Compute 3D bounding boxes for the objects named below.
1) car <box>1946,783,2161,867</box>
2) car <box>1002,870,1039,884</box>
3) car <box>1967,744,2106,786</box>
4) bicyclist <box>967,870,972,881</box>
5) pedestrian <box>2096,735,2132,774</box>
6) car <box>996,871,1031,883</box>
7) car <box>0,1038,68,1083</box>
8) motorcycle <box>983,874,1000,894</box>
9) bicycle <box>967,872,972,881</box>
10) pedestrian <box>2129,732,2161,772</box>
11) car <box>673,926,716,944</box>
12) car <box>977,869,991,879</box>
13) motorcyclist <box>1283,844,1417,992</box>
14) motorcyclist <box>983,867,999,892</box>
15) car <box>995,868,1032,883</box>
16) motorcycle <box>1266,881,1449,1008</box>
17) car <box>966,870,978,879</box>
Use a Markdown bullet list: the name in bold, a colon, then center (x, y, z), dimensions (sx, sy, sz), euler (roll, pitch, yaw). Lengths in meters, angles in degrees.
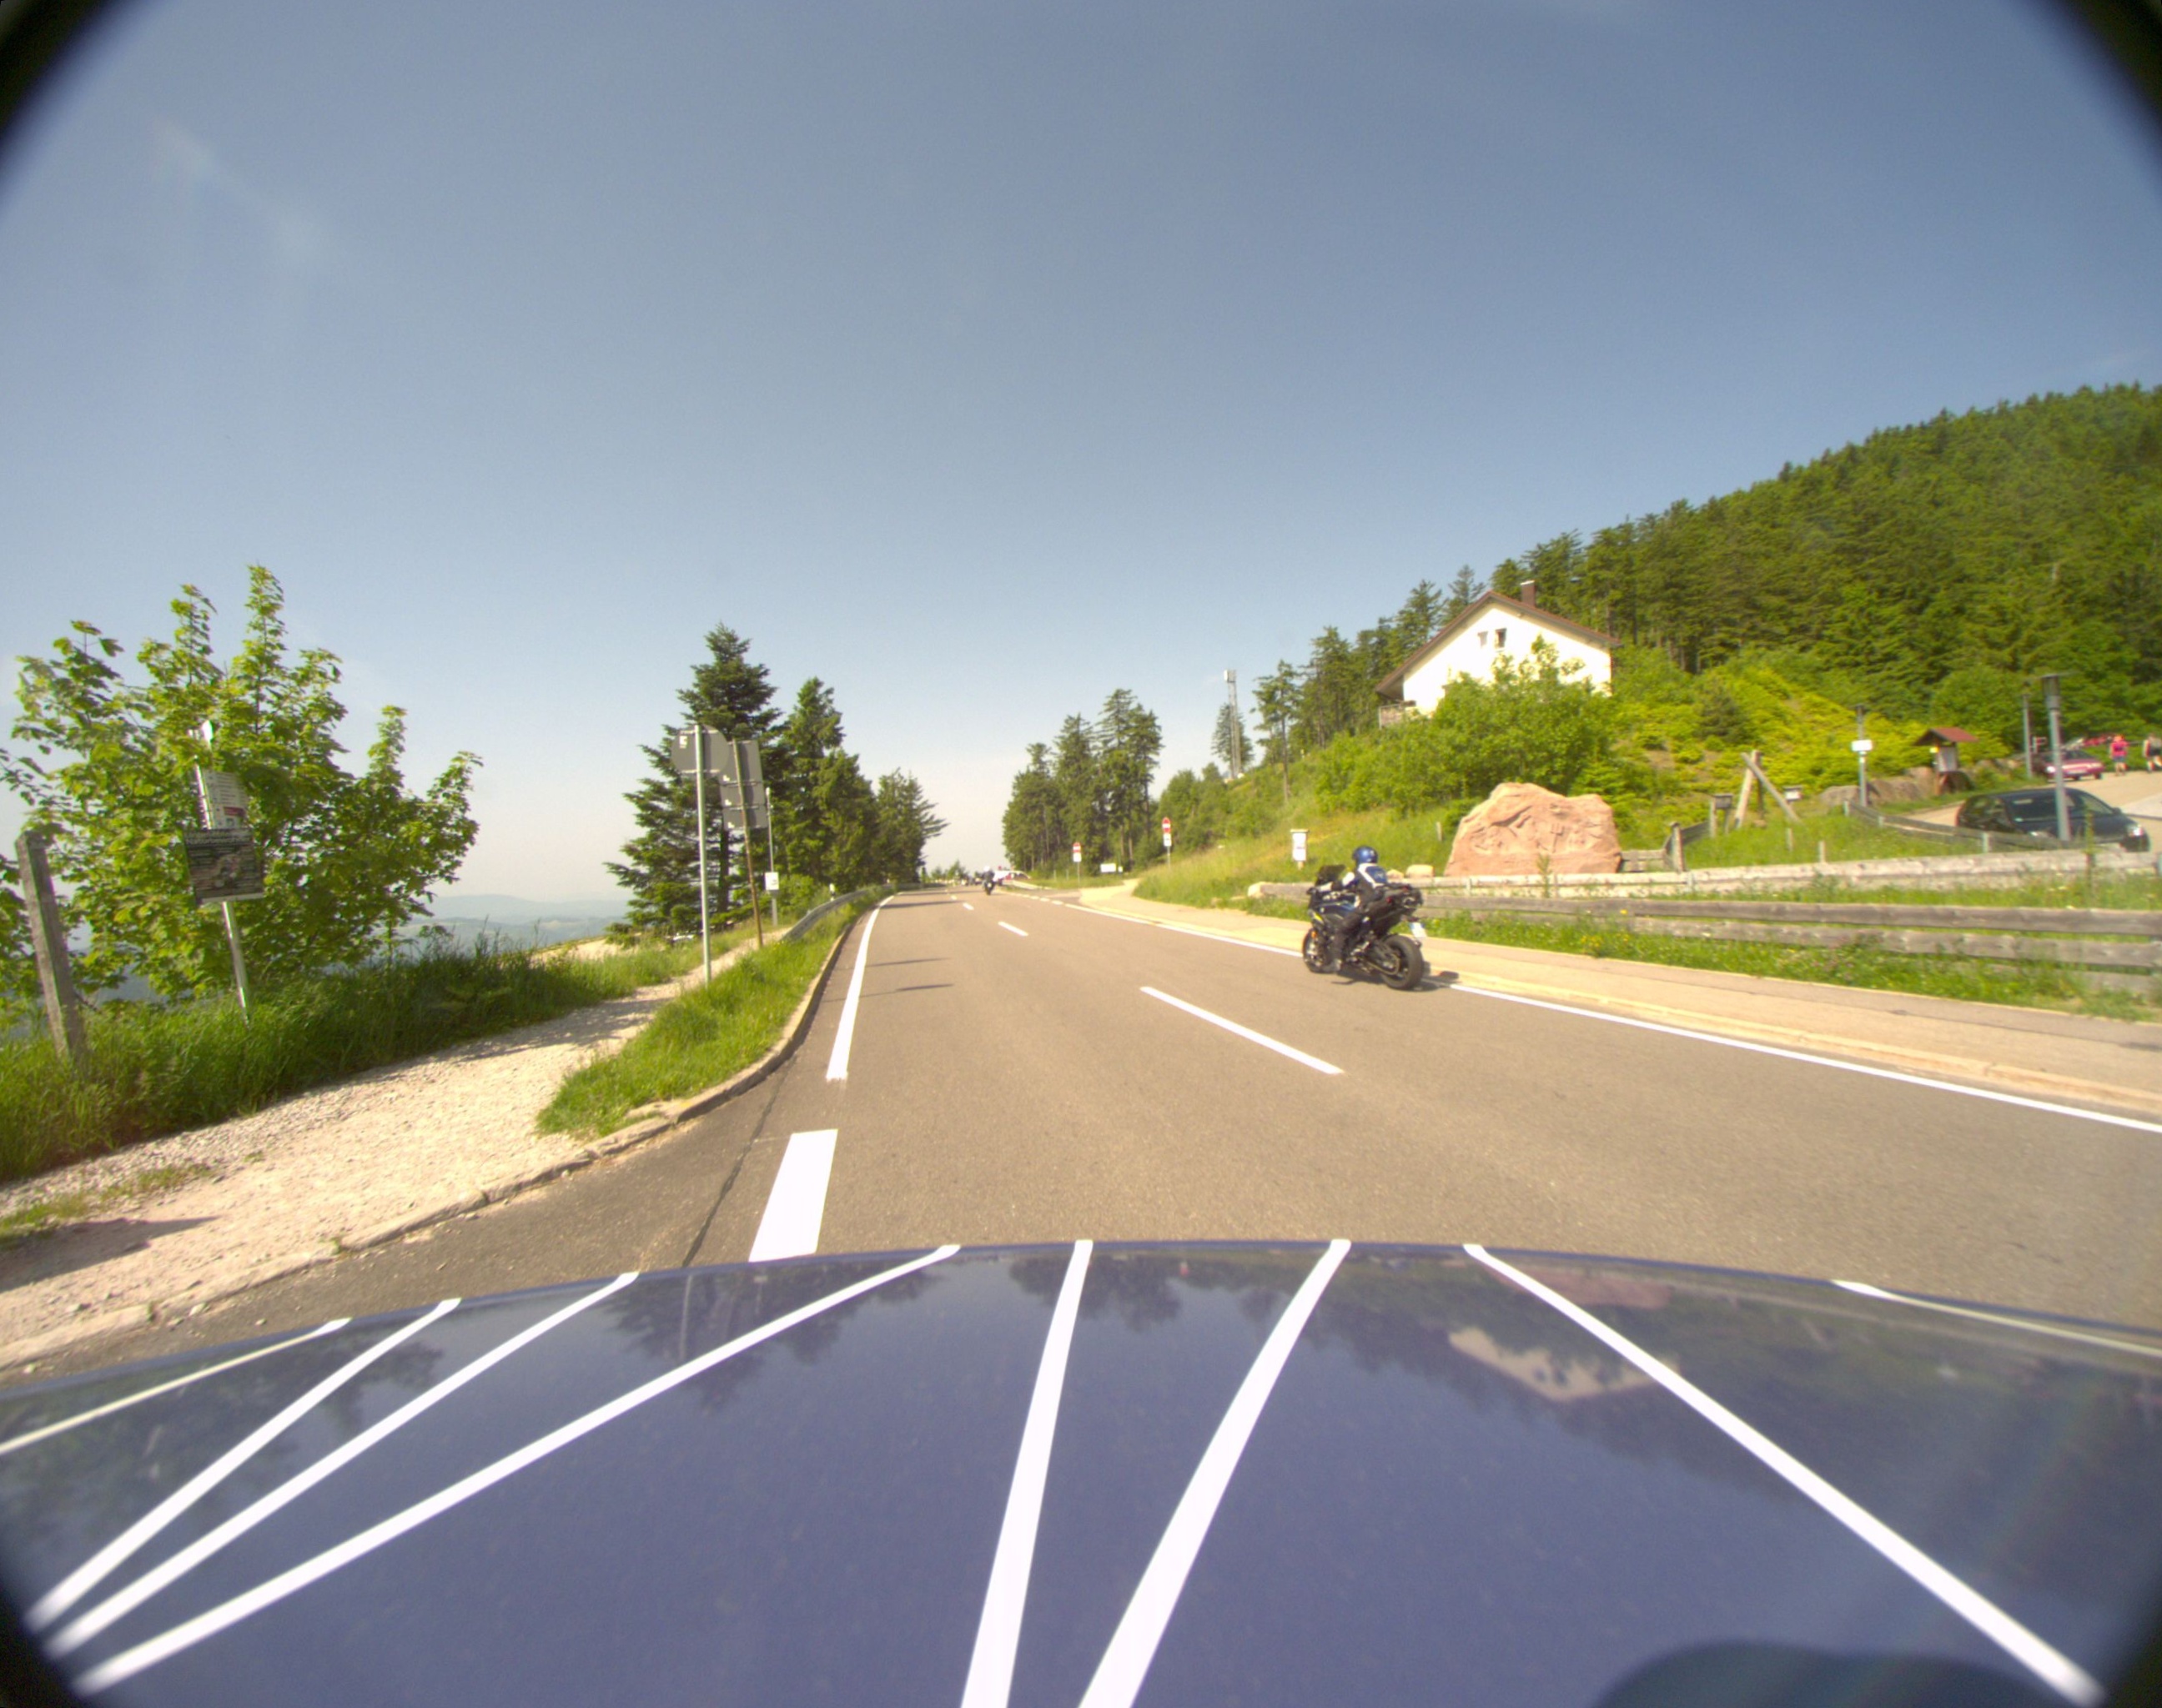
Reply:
- **car**: center (20.446, -0.669, 16.064), dimensions (1.875, 1.347, 4.004), euler (-2, 6, 34)
- **car**: center (-6.938, 2.612, 86.955), dimensions (4.163, 1.501, 1.931), euler (0, -1, -9)
- **car**: center (40.758, -3.771, 32.570), dimensions (1.546, 1.308, 3.855), euler (-3, 0, 11)
- **bicyclist**: center (-16.087, 3.137, 109.612), dimensions (0.546, 1.519, 0.679), euler (-2, 0, -5)
- **pedestrian**: center (43.460, -4.188, 31.969), dimensions (0.573, 1.534, 0.632), euler (-9, 2, 32)
- **car**: center (-7.943, 2.712, 89.443), dimensions (3.933, 1.365, 1.930), euler (0, -1, -13)
- **car**: center (-52.595, 10.160, 37.106), dimensions (3.522, 1.655, 1.801), euler (-3, 0, -5)
- **motorcycle**: center (-5.285, 1.746, 44.746), dimensions (0.842, 1.089, 2.180), euler (-1, 0, -11)
- **bicycle**: center (-16.088, 3.281, 109.687), dimensions (0.546, 1.220, 1.858), euler (-2, 0, -5)
- **pedestrian**: center (44.181, -4.220, 31.467), dimensions (0.573, 1.534, 0.632), euler (-9, 2, 32)
- **car**: center (-43.639, 9.119, 85.847), dimensions (3.775, 1.587, 1.843), euler (-3, 2, 3)
- **car**: center (-16.764, 3.391, 131.048), dimensions (1.999, 1.586, 3.999), euler (-2, -1, -2)
- **motorcyclist**: center (3.247, 0.723, 9.285), dimensions (0.882, 1.632, 1.297), euler (-2, 0, -18)
- **motorcyclist**: center (-5.288, 1.476, 44.785), dimensions (0.842, 1.432, 1.004), euler (-1, 1, -12)
- **car**: center (-8.957, 2.822, 100.863), dimensions (4.734, 1.870, 1.930), euler (0, -1, -13)
- **motorcycle**: center (3.271, 1.005, 9.299), dimensions (0.814, 1.258, 2.324), euler (-2, 0, -18)
- **car**: center (-20.649, 3.923, 144.214), dimensions (1.999, 1.586, 3.998), euler (-2, -1, -6)
